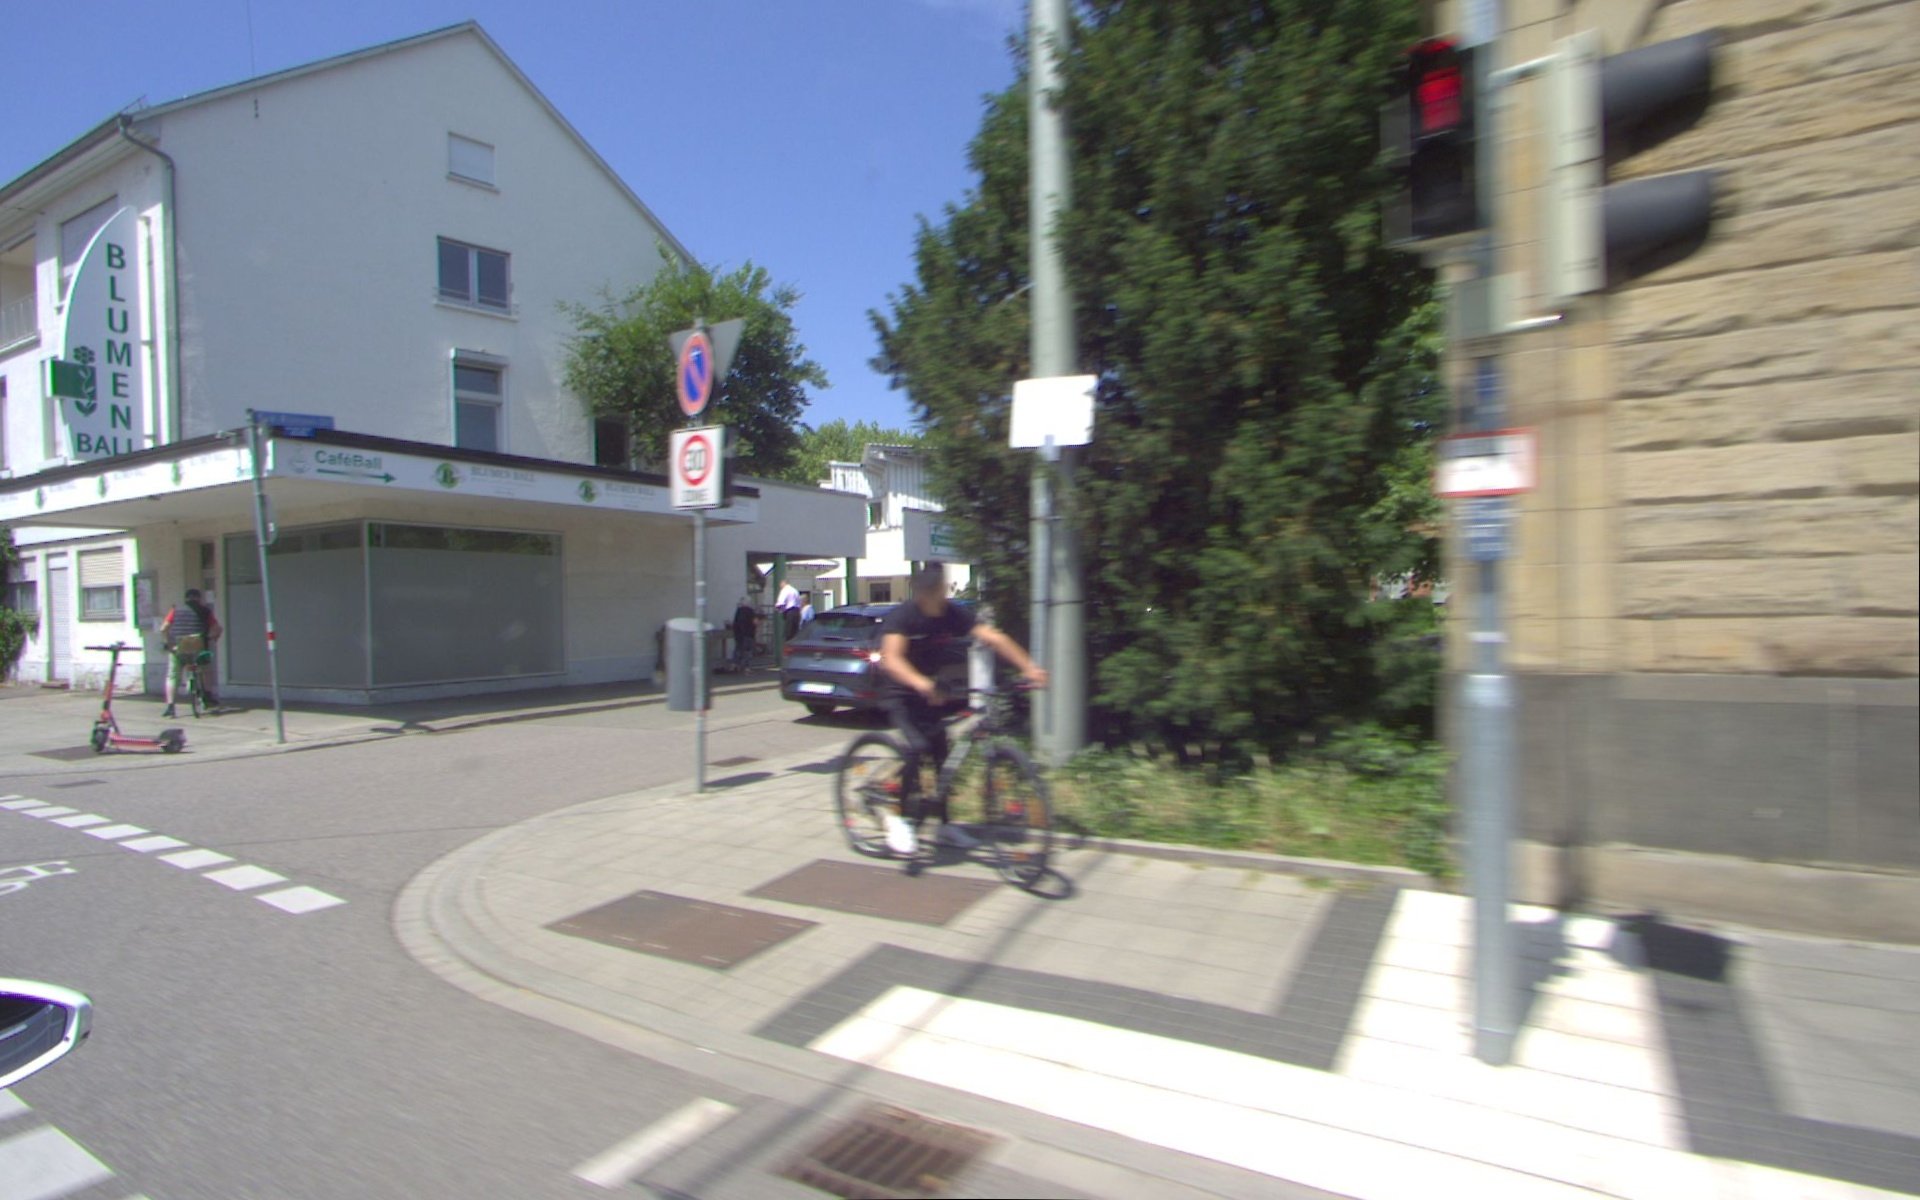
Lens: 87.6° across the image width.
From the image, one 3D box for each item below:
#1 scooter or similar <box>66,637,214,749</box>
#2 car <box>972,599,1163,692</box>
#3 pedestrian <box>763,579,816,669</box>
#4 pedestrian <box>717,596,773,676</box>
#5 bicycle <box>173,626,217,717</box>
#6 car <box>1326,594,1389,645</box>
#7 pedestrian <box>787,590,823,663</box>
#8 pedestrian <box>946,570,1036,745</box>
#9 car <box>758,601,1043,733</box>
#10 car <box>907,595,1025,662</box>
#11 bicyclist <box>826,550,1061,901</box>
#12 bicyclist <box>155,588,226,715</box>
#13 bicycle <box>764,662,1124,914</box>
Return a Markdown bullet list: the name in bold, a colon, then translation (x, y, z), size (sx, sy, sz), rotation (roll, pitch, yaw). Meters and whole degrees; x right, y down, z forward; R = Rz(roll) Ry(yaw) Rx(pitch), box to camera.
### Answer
- **scooter or similar**: translation (-9.046, 1.024, 11.056), size (1.439, 1.193, 0.340), rotation (-1, 0, 7)
- **car**: translation (2.070, 0.715, 18.072), size (1.686, 1.451, 4.317), rotation (1, 1, 32)
- **pedestrian**: translation (-3.752, 0.526, 22.055), size (0.739, 1.929, 0.854), rotation (-1, 1, 32)
- **pedestrian**: translation (-4.367, 0.712, 20.356), size (0.697, 1.563, 0.909), rotation (1, 2, 31)
- **bicycle**: translation (-11.165, 1.004, 14.588), size (0.372, 1.213, 1.888), rotation (-2, 1, -41)
- **car**: translation (16.253, 0.764, 40.823), size (1.844, 1.925, 4.645), rotation (-1, -1, 28)
- **pedestrian**: translation (-3.512, 0.602, 22.666), size (0.618, 1.634, 0.475), rotation (-1, 1, 32)
- **pedestrian**: translation (0.302, 0.538, 9.658), size (0.620, 1.612, 0.601), rotation (-1, 0, 32)
- **car**: translation (-0.616, 0.755, 13.505), size (1.686, 1.451, 4.217), rotation (1, 1, 32)
- **car**: translation (0.240, 0.694, 26.502), size (1.564, 1.639, 3.986), rotation (0, 0, 26)
- **bicyclist**: translation (-0.069, 0.586, 5.285), size (0.848, 1.641, 0.829), rotation (0, 5, 36)
- **bicyclist**: translation (-11.284, 0.731, 14.676), size (0.722, 1.784, 0.915), rotation (-2, 1, -42)
- **bicycle**: translation (-0.127, 0.901, 5.323), size (1.839, 1.017, 0.665), rotation (0, 5, 36)
